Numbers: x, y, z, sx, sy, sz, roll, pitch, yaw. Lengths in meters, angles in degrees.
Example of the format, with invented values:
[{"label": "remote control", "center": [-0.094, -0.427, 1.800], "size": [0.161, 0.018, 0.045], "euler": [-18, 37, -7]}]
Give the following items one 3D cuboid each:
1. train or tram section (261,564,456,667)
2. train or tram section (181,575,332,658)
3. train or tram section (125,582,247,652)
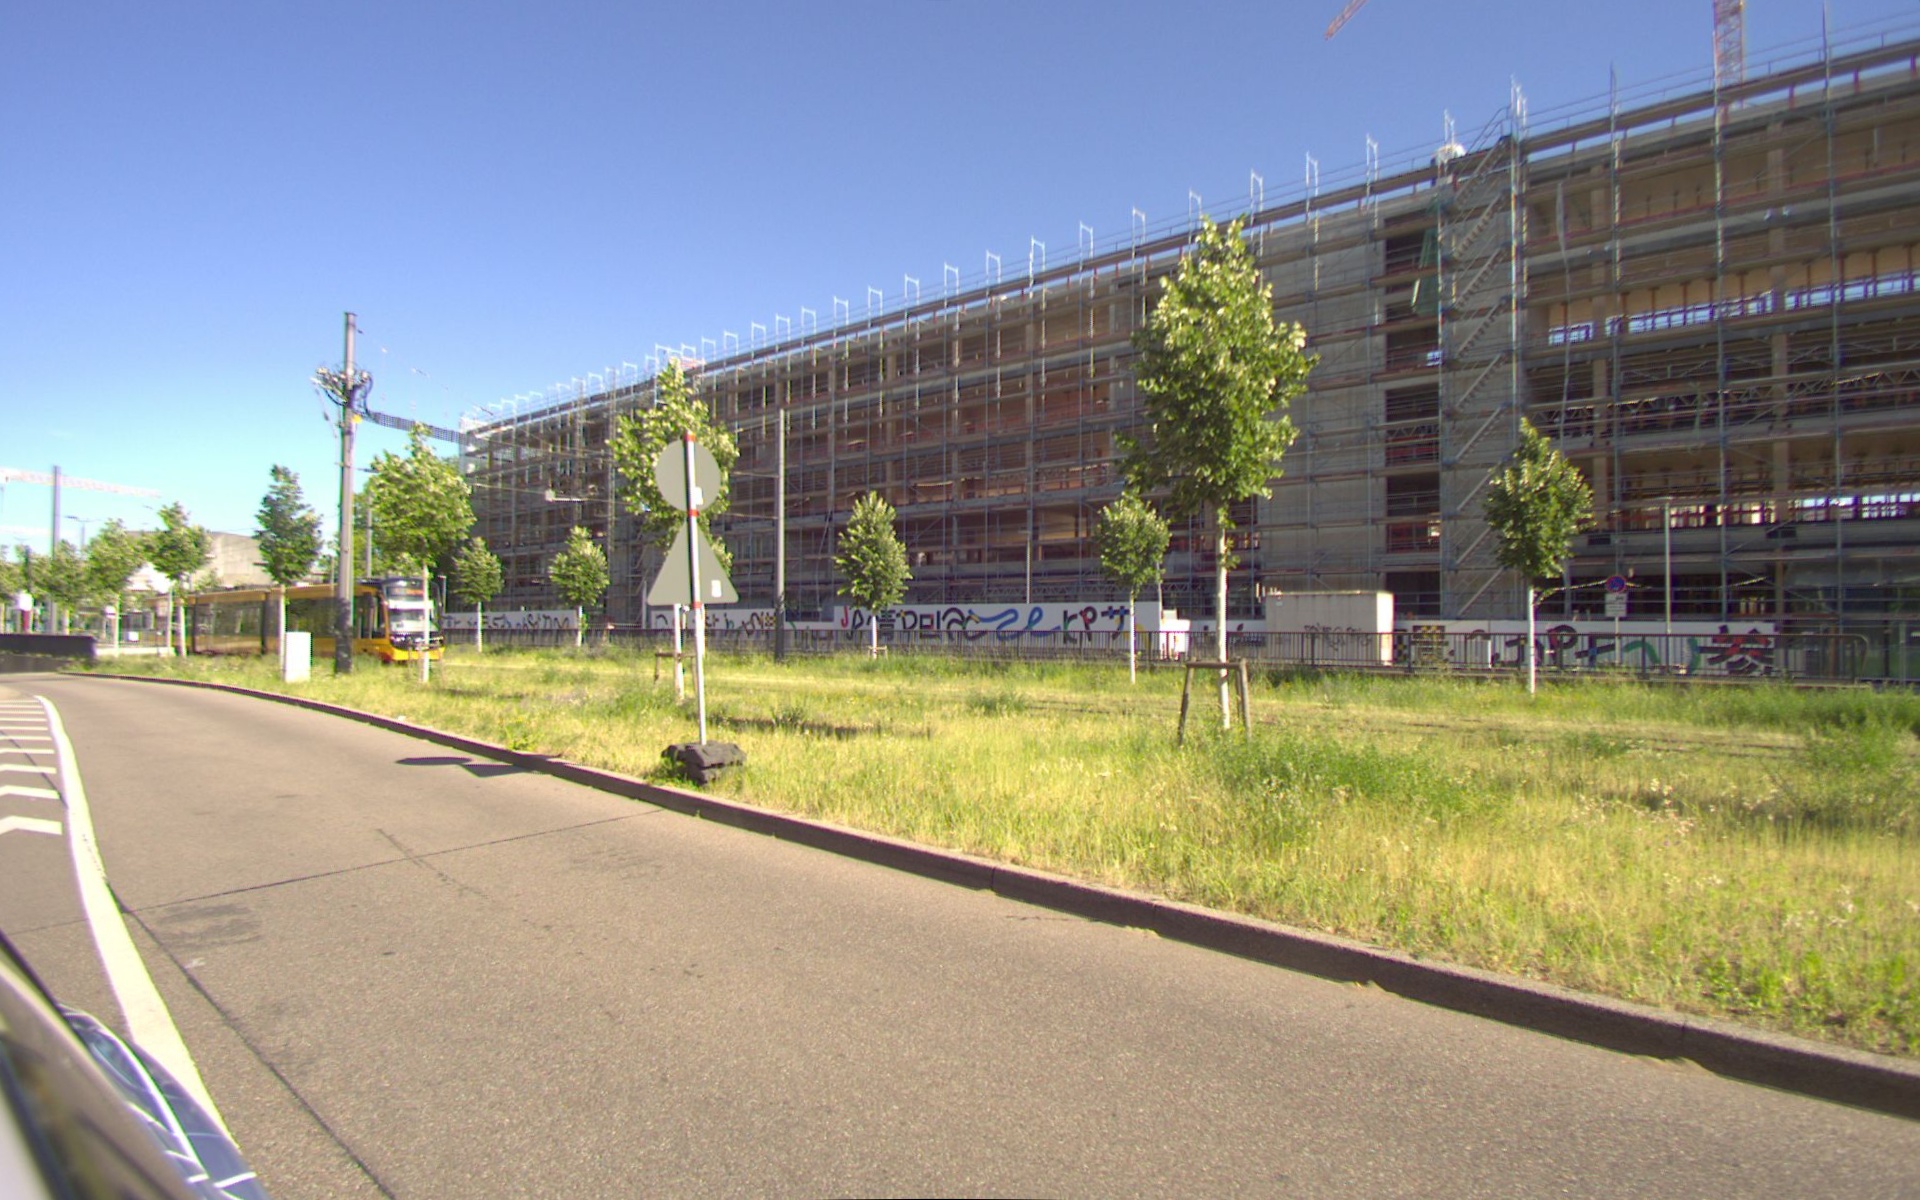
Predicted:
[{"label": "train or tram section", "center": [-24.867, 0.665, 41.335], "size": [12.778, 3.666, 2.787], "euler": [-1, -2, 40]}, {"label": "train or tram section", "center": [-34.666, 0.840, 49.565], "size": [12.778, 3.666, 2.787], "euler": [-1, -2, 40]}, {"label": "train or tram section", "center": [-44.425, 1.007, 57.823], "size": [12.778, 3.666, 2.787], "euler": [-1, -2, 40]}]
